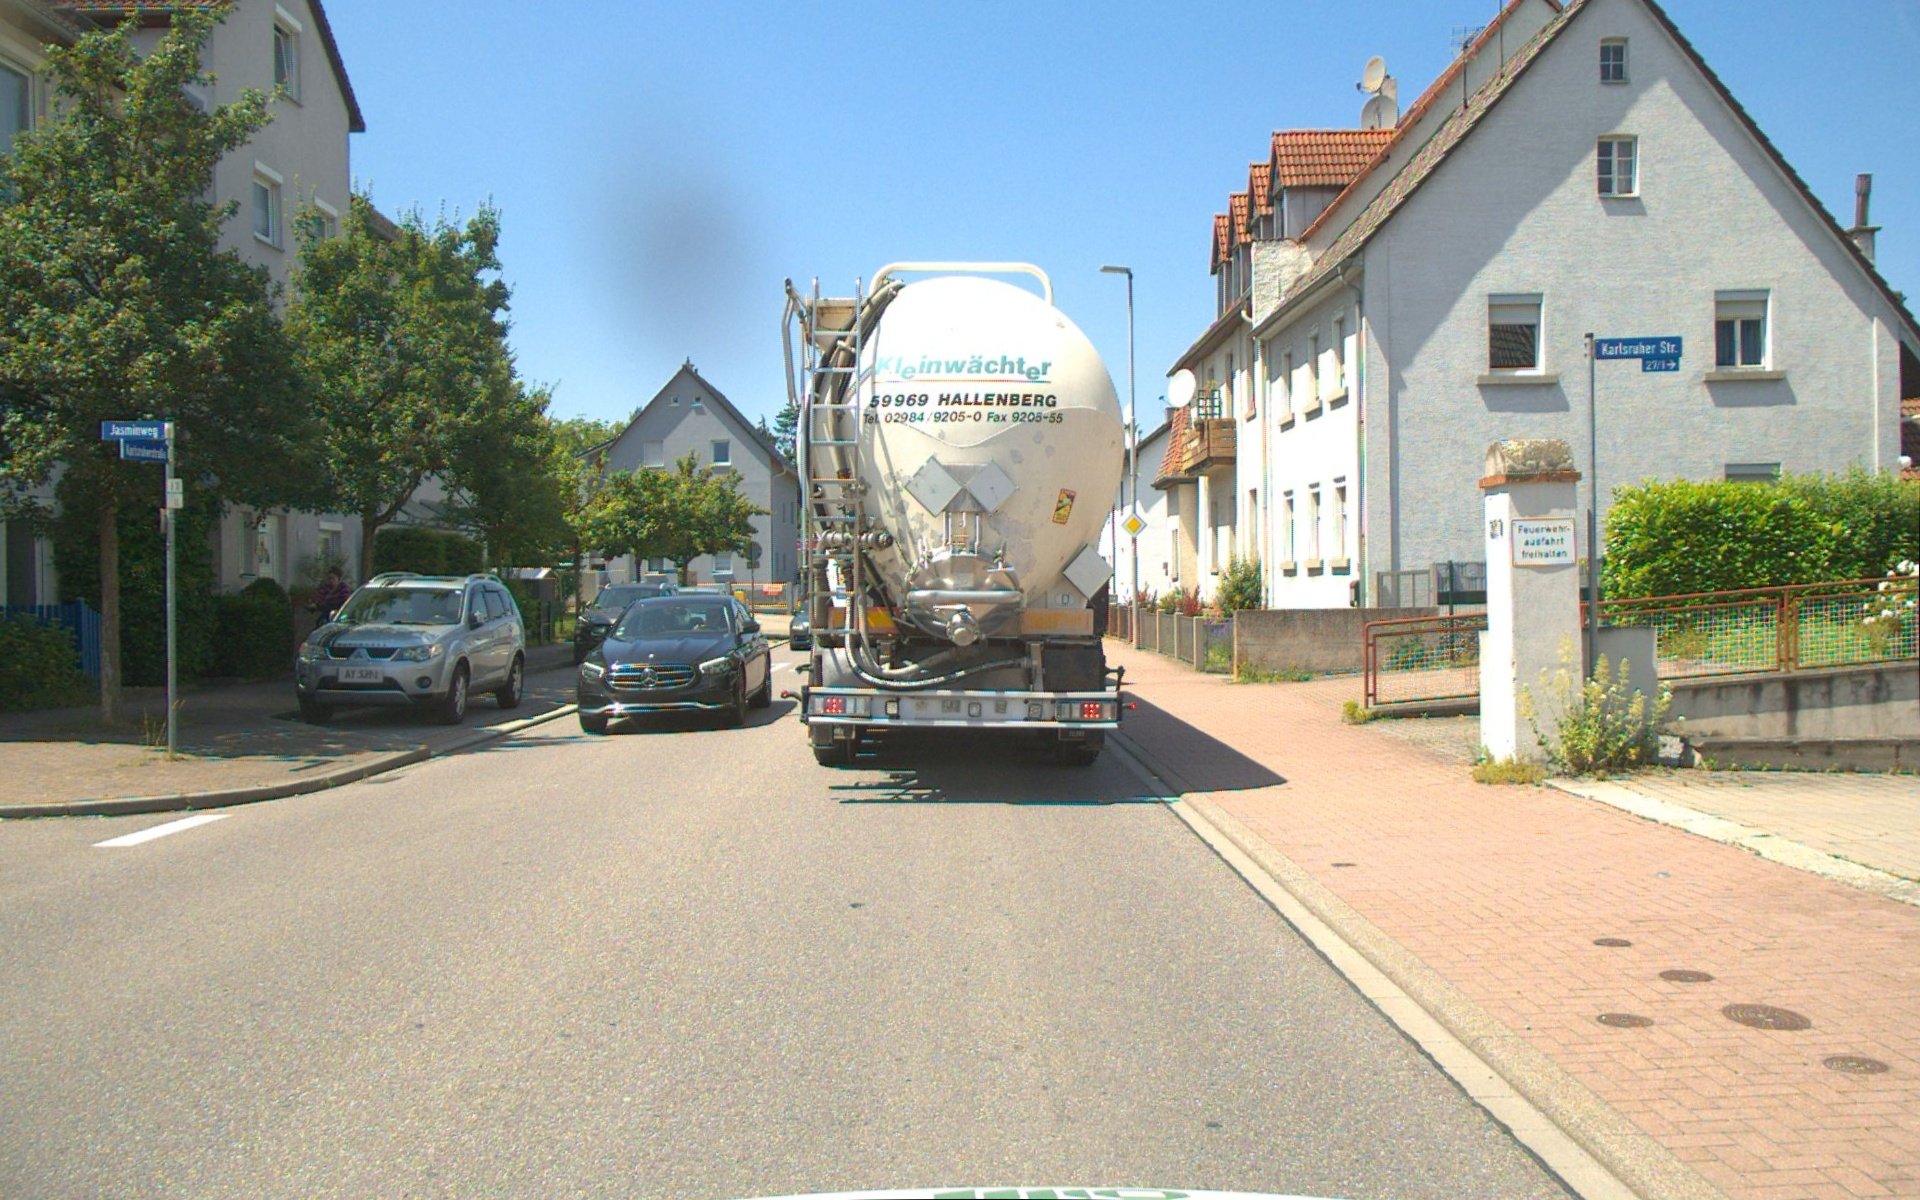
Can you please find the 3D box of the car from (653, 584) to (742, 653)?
[{"bbox_3d":[-6.412,0.425,40.723,1.663,1.608,3.837,0,0,-1],"label":"car"}]

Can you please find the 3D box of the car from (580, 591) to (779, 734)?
[{"bbox_3d":[-3.276,0.662,20.133,1.695,1.485,4.693,-1,0,-1],"label":"car"}]

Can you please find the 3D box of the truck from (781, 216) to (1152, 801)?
[{"bbox_3d":[-0.099,-0.684,16.375,2.588,4.086,9.558,0,0,-2],"label":"truck"}]

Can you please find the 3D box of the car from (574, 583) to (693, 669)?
[{"bbox_3d":[-6.615,0.482,33.870,1.657,1.648,3.997,0,0,0],"label":"car"}]

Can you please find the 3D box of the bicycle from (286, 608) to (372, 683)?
[{"bbox_3d":[-9.540,0.667,25.062,0.658,1.074,2.024,1,0,-5],"label":"bicycle"}]

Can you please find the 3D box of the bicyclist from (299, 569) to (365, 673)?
[{"bbox_3d":[-9.524,0.308,25.115,0.645,1.520,0.908,2,0,-5],"label":"bicyclist"}]

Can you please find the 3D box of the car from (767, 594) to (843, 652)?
[{"bbox_3d":[-4.162,0.595,44.958,1.671,1.394,3.868,-3,0,-1],"label":"car"}]

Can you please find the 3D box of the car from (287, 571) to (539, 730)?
[{"bbox_3d":[-6.500,0.529,20.188,1.672,1.716,4.524,0,0,-2],"label":"car"}]
